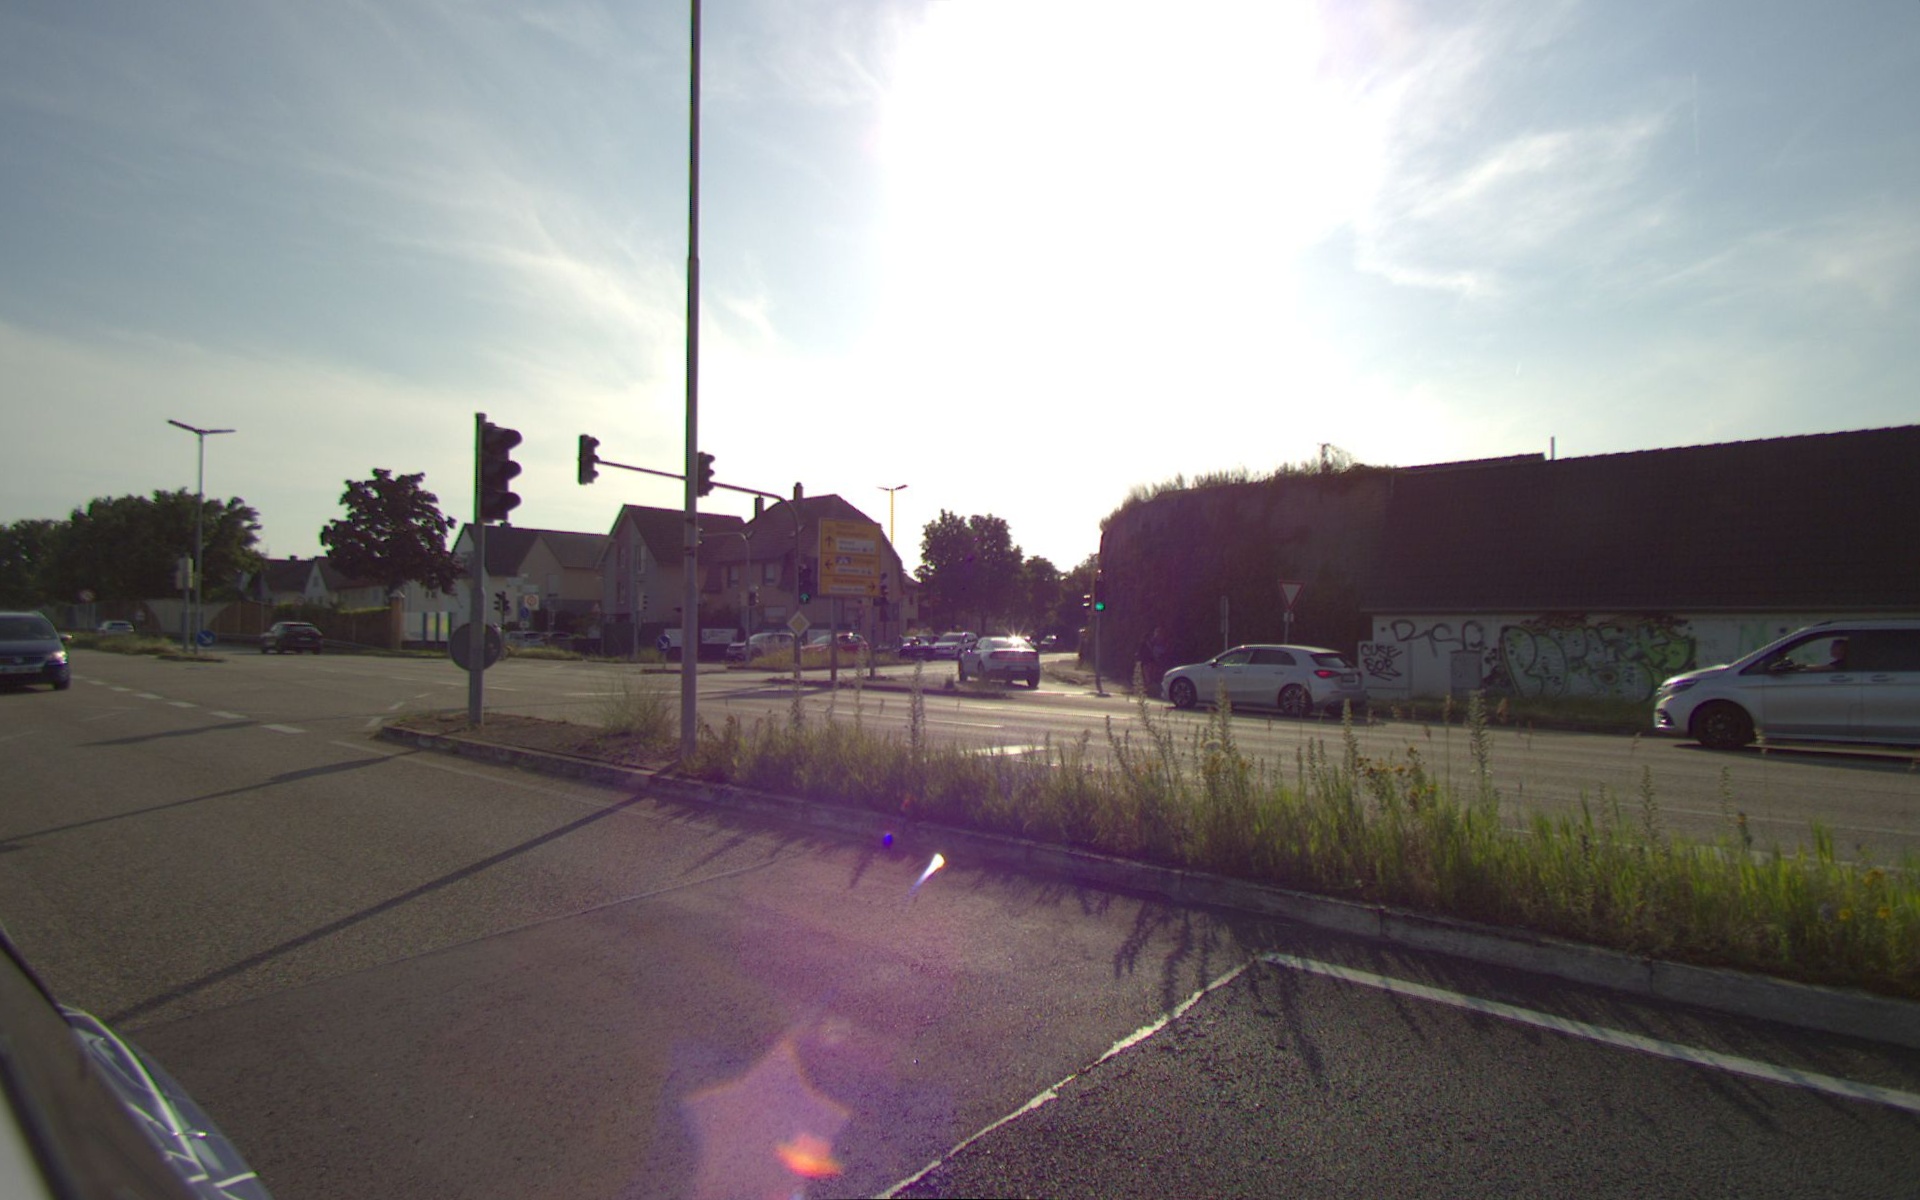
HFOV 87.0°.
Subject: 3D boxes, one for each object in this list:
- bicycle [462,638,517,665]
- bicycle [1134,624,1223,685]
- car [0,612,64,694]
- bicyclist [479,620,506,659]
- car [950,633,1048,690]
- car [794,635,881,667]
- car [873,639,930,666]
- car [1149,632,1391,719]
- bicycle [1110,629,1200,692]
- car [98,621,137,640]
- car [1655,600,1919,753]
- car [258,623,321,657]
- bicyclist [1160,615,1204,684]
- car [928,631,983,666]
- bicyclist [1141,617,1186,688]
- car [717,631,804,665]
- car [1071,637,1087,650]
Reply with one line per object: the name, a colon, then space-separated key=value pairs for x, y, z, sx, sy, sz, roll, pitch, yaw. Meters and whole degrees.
bicycle: x=-21.999 y=2.418 z=47.370 sx=2.128 sy=1.201 sz=0.905 roll=3 pitch=-2 yaw=-40
bicycle: x=6.641 y=1.624 z=30.902 sx=2.606 sy=1.762 sz=0.745 roll=0 pitch=0 yaw=42
car: x=-20.806 y=1.078 z=21.794 sx=4.681 sy=1.633 sz=1.754 roll=0 pitch=-1 yaw=42
bicyclist: x=-21.915 y=1.861 z=47.459 sx=0.844 sy=1.800 sz=0.848 roll=5 pitch=-3 yaw=-40
car: x=1.136 y=1.874 z=32.086 sx=1.923 sy=1.509 sz=4.774 roll=0 pitch=0 yaw=-13
car: x=-5.736 y=2.433 z=47.826 sx=1.638 sy=1.424 sz=4.254 roll=-1 pitch=-4 yaw=34
car: x=-3.071 y=2.748 z=53.579 sx=1.744 sy=1.186 sz=3.589 roll=0 pitch=0 yaw=20
car: x=6.301 y=1.514 z=20.954 sx=1.682 sy=1.509 sz=4.543 roll=6 pitch=-4 yaw=-42
bicycle: x=5.775 y=1.760 z=30.102 sx=2.606 sy=1.762 sz=0.745 roll=0 pitch=0 yaw=42
car: x=-66.731 y=2.405 z=80.146 sx=4.734 sy=1.473 sz=1.735 roll=-1 pitch=-3 yaw=43
car: x=12.784 y=1.028 z=13.611 sx=5.454 sy=1.942 sz=1.886 roll=0 pitch=-4 yaw=44
car: x=-33.059 y=1.936 z=49.853 sx=4.248 sy=1.553 sz=1.712 roll=-1 pitch=-4 yaw=45
bicyclist: x=6.752 y=1.494 z=30.781 sx=1.061 sy=2.029 sz=0.762 roll=-1 pitch=0 yaw=41
car: x=-0.214 y=2.810 z=59.830 sx=1.985 sy=1.829 sz=4.154 roll=0 pitch=0 yaw=20
bicyclist: x=6.012 y=1.522 z=29.879 sx=1.061 sy=2.029 sz=0.762 roll=-1 pitch=0 yaw=41
car: x=-9.847 y=2.394 z=50.089 sx=1.757 sy=1.575 sz=3.944 roll=0 pitch=-4 yaw=42
car: x=14.770 y=5.358 z=125.533 sx=1.531 sy=1.497 sz=3.407 roll=0 pitch=0 yaw=16
